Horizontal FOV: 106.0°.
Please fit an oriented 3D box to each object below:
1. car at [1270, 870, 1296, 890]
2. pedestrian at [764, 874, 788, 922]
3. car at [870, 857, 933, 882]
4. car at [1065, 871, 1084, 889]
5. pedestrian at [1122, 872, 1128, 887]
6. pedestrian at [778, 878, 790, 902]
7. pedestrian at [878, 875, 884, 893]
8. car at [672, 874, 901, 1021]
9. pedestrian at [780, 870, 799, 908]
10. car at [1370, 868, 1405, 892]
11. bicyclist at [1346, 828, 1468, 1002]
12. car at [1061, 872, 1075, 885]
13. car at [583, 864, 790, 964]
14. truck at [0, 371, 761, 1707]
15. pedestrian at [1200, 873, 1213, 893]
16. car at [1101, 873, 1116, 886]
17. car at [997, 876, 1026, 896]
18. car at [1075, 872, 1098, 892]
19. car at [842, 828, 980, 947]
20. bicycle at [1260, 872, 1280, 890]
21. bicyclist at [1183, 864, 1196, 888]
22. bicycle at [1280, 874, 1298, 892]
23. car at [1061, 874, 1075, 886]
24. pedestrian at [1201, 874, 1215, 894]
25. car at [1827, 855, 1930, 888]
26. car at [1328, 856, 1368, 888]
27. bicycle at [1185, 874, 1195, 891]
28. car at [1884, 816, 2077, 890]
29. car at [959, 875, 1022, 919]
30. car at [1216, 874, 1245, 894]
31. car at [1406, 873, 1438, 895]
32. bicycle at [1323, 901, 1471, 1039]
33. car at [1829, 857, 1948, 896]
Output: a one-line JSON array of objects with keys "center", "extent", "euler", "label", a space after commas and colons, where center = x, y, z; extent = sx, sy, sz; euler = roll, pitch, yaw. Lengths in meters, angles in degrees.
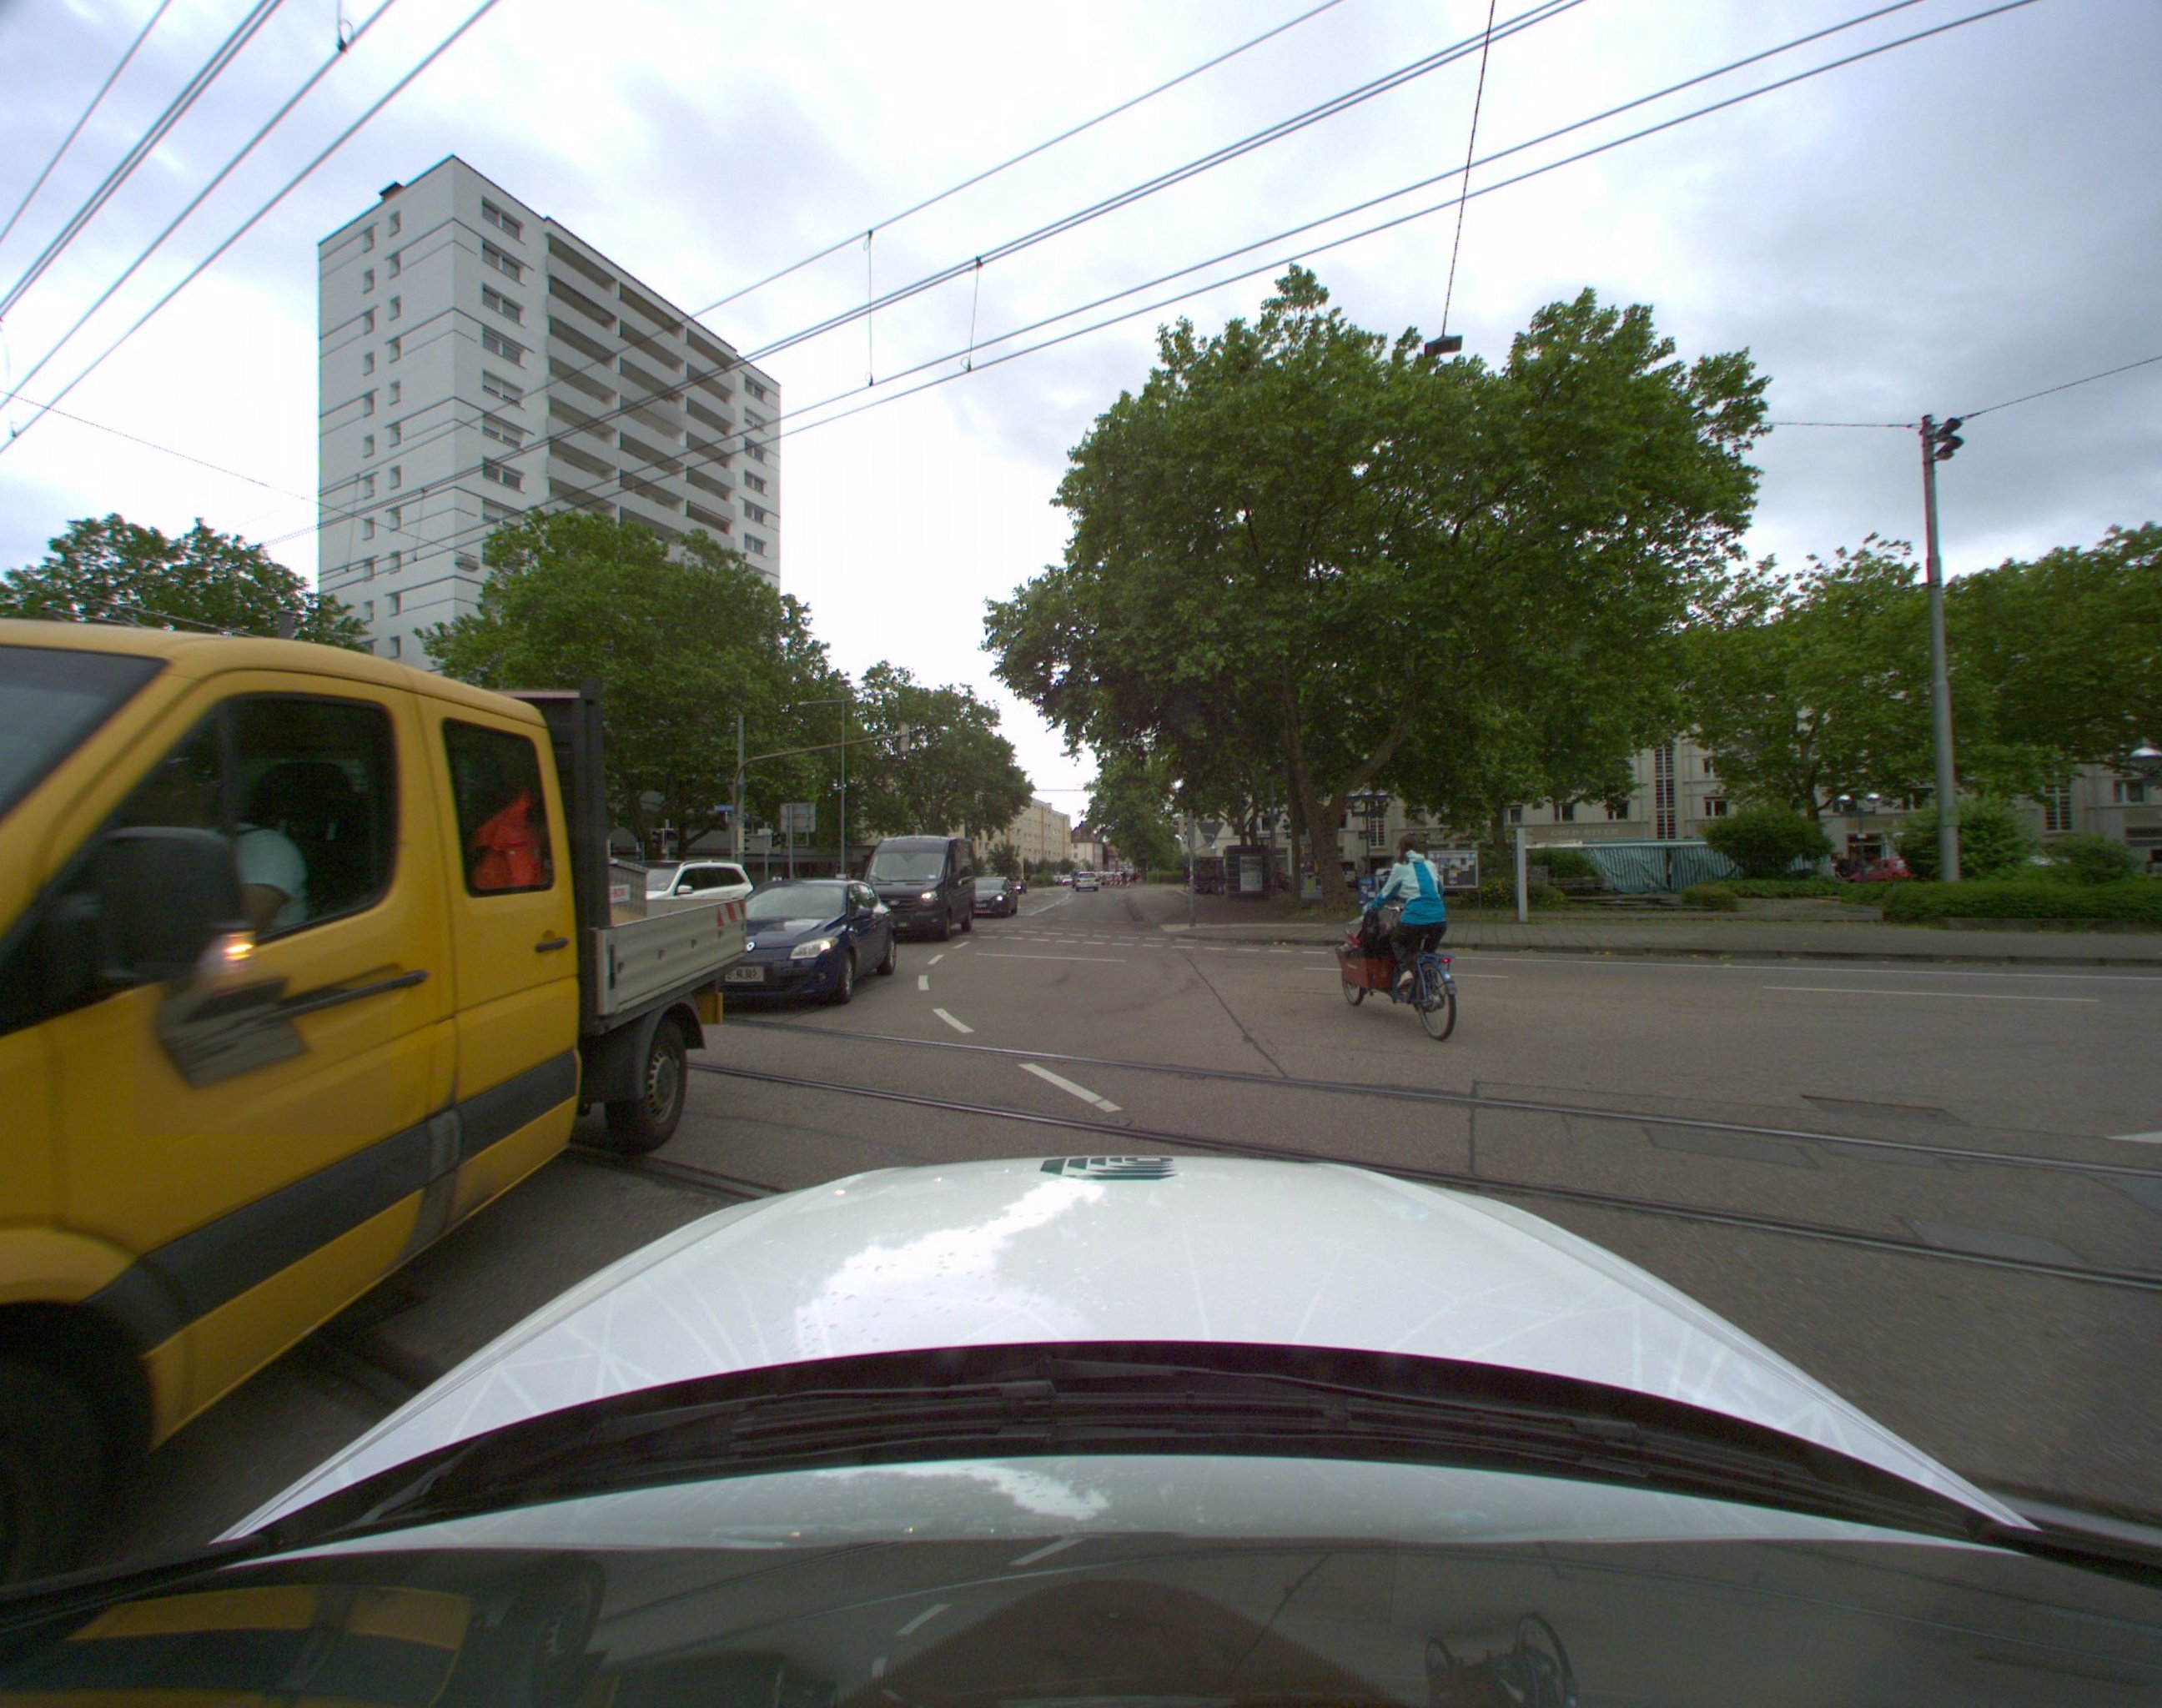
[{"center": [15.062, 1.906, 60.604], "extent": [1.502, 1.428, 4.019], "euler": [-2, -1, 20], "label": "car"}, {"center": [-11.584, 1.653, 30.944], "extent": [0.696, 1.785, 0.507], "euler": [-1, -1, 8], "label": "pedestrian"}, {"center": [-12.725, 1.108, 57.819], "extent": [4.008, 1.706, 1.982], "euler": [0, -2, -27], "label": "car"}, {"center": [-0.696, 2.793, 88.146], "extent": [1.987, 1.848, 4.000], "euler": [-1, -1, 0], "label": "car"}, {"center": [4.802, 2.760, 88.741], "extent": [0.548, 1.685, 0.570], "euler": [-1, -2, 0], "label": "pedestrian"}, {"center": [-19.460, 2.363, 53.342], "extent": [0.417, 1.545, 0.626], "euler": [-2, -2, 25], "label": "pedestrian"}, {"center": [-18.219, 2.735, 74.295], "extent": [0.510, 1.681, 0.514], "euler": [-1, -2, -14], "label": "pedestrian"}, {"center": [-3.554, 1.036, 10.594], "extent": [1.662, 1.489, 3.901], "euler": [-1, -1, -2], "label": "car"}, {"center": [-14.010, 1.684, 39.157], "extent": [0.571, 1.785, 0.622], "euler": [-1, -1, 10], "label": "pedestrian"}, {"center": [21.611, 1.809, 57.317], "extent": [1.779, 1.543, 3.849], "euler": [-2, -1, 27], "label": "car"}, {"center": [3.061, 0.545, 7.742], "extent": [0.684, 1.518, 1.057], "euler": [-1, -1, -2], "label": "bicyclist"}, {"center": [-1.973, 3.713, 124.550], "extent": [1.760, 1.912, 4.002], "euler": [-1, -1, 2], "label": "car"}, {"center": [-8.247, 1.160, 17.687], "extent": [1.860, 1.826, 5.226], "euler": [-1, -1, 1], "label": "car"}, {"center": [-3.103, 0.404, 3.094], "extent": [2.072, 2.408, 5.450], "euler": [-2, -1, -6], "label": "truck"}, {"center": [8.470, 1.957, 54.970], "extent": [0.814, 1.372, 0.763], "euler": [-1, -1, 2], "label": "pedestrian"}, {"center": [3.504, 3.207, 102.116], "extent": [1.808, 1.592, 4.001], "euler": [-1, -1, 2], "label": "car"}, {"center": [-5.545, 2.545, 65.535], "extent": [1.846, 1.453, 4.169], "euler": [-1, -1, 2], "label": "car"}, {"center": [0.523, 2.311, 68.922], "extent": [1.808, 1.592, 4.001], "euler": [-1, -1, 2], "label": "car"}, {"center": [-3.928, 0.757, 19.912], "extent": [2.127, 2.451, 5.578], "euler": [-1, -1, 0], "label": "car"}, {"center": [13.025, 1.875, 56.126], "extent": [0.771, 1.168, 2.346], "euler": [-2, -2, 27], "label": "bicycle"}, {"center": [7.924, 1.587, 59.348], "extent": [0.758, 1.759, 0.820], "euler": [-1, -1, -2], "label": "bicyclist"}, {"center": [14.227, 1.981, 55.660], "extent": [0.616, 1.168, 2.346], "euler": [-2, -2, 27], "label": "bicycle"}, {"center": [-1.777, 3.584, 112.963], "extent": [1.760, 1.486, 4.002], "euler": [-1, -1, 2], "label": "car"}, {"center": [8.439, 1.967, 54.057], "extent": [0.850, 1.315, 0.763], "euler": [-1, -1, 2], "label": "pedestrian"}, {"center": [38.718, 0.869, 39.605], "extent": [3.234, 1.518, 1.580], "euler": [-1, -1, 10], "label": "car"}, {"center": [19.128, 1.265, 58.268], "extent": [2.154, 2.201, 4.023], "euler": [-2, -1, 26], "label": "car"}, {"center": [7.898, 2.071, 59.120], "extent": [0.416, 1.242, 1.925], "euler": [-1, -1, -2], "label": "bicycle"}, {"center": [35.173, 0.010, 32.145], "extent": [2.221, 2.639, 5.463], "euler": [-1, -1, 11], "label": "car"}, {"center": [-3.245, 1.524, 29.950], "extent": [1.803, 1.427, 4.316], "euler": [-1, -1, 0], "label": "car"}, {"center": [11.280, 2.227, 61.214], "extent": [1.502, 1.428, 4.019], "euler": [-2, -1, 20], "label": "car"}, {"center": [24.020, 2.064, 57.285], "extent": [1.779, 1.440, 3.849], "euler": [-2, -1, 27], "label": "car"}, {"center": [2.966, 1.035, 7.889], "extent": [0.492, 1.098, 2.136], "euler": [-1, -2, -2], "label": "bicycle"}, {"center": [31.576, 0.851, 32.009], "extent": [1.716, 1.399, 4.318], "euler": [-1, -1, 21], "label": "car"}]
